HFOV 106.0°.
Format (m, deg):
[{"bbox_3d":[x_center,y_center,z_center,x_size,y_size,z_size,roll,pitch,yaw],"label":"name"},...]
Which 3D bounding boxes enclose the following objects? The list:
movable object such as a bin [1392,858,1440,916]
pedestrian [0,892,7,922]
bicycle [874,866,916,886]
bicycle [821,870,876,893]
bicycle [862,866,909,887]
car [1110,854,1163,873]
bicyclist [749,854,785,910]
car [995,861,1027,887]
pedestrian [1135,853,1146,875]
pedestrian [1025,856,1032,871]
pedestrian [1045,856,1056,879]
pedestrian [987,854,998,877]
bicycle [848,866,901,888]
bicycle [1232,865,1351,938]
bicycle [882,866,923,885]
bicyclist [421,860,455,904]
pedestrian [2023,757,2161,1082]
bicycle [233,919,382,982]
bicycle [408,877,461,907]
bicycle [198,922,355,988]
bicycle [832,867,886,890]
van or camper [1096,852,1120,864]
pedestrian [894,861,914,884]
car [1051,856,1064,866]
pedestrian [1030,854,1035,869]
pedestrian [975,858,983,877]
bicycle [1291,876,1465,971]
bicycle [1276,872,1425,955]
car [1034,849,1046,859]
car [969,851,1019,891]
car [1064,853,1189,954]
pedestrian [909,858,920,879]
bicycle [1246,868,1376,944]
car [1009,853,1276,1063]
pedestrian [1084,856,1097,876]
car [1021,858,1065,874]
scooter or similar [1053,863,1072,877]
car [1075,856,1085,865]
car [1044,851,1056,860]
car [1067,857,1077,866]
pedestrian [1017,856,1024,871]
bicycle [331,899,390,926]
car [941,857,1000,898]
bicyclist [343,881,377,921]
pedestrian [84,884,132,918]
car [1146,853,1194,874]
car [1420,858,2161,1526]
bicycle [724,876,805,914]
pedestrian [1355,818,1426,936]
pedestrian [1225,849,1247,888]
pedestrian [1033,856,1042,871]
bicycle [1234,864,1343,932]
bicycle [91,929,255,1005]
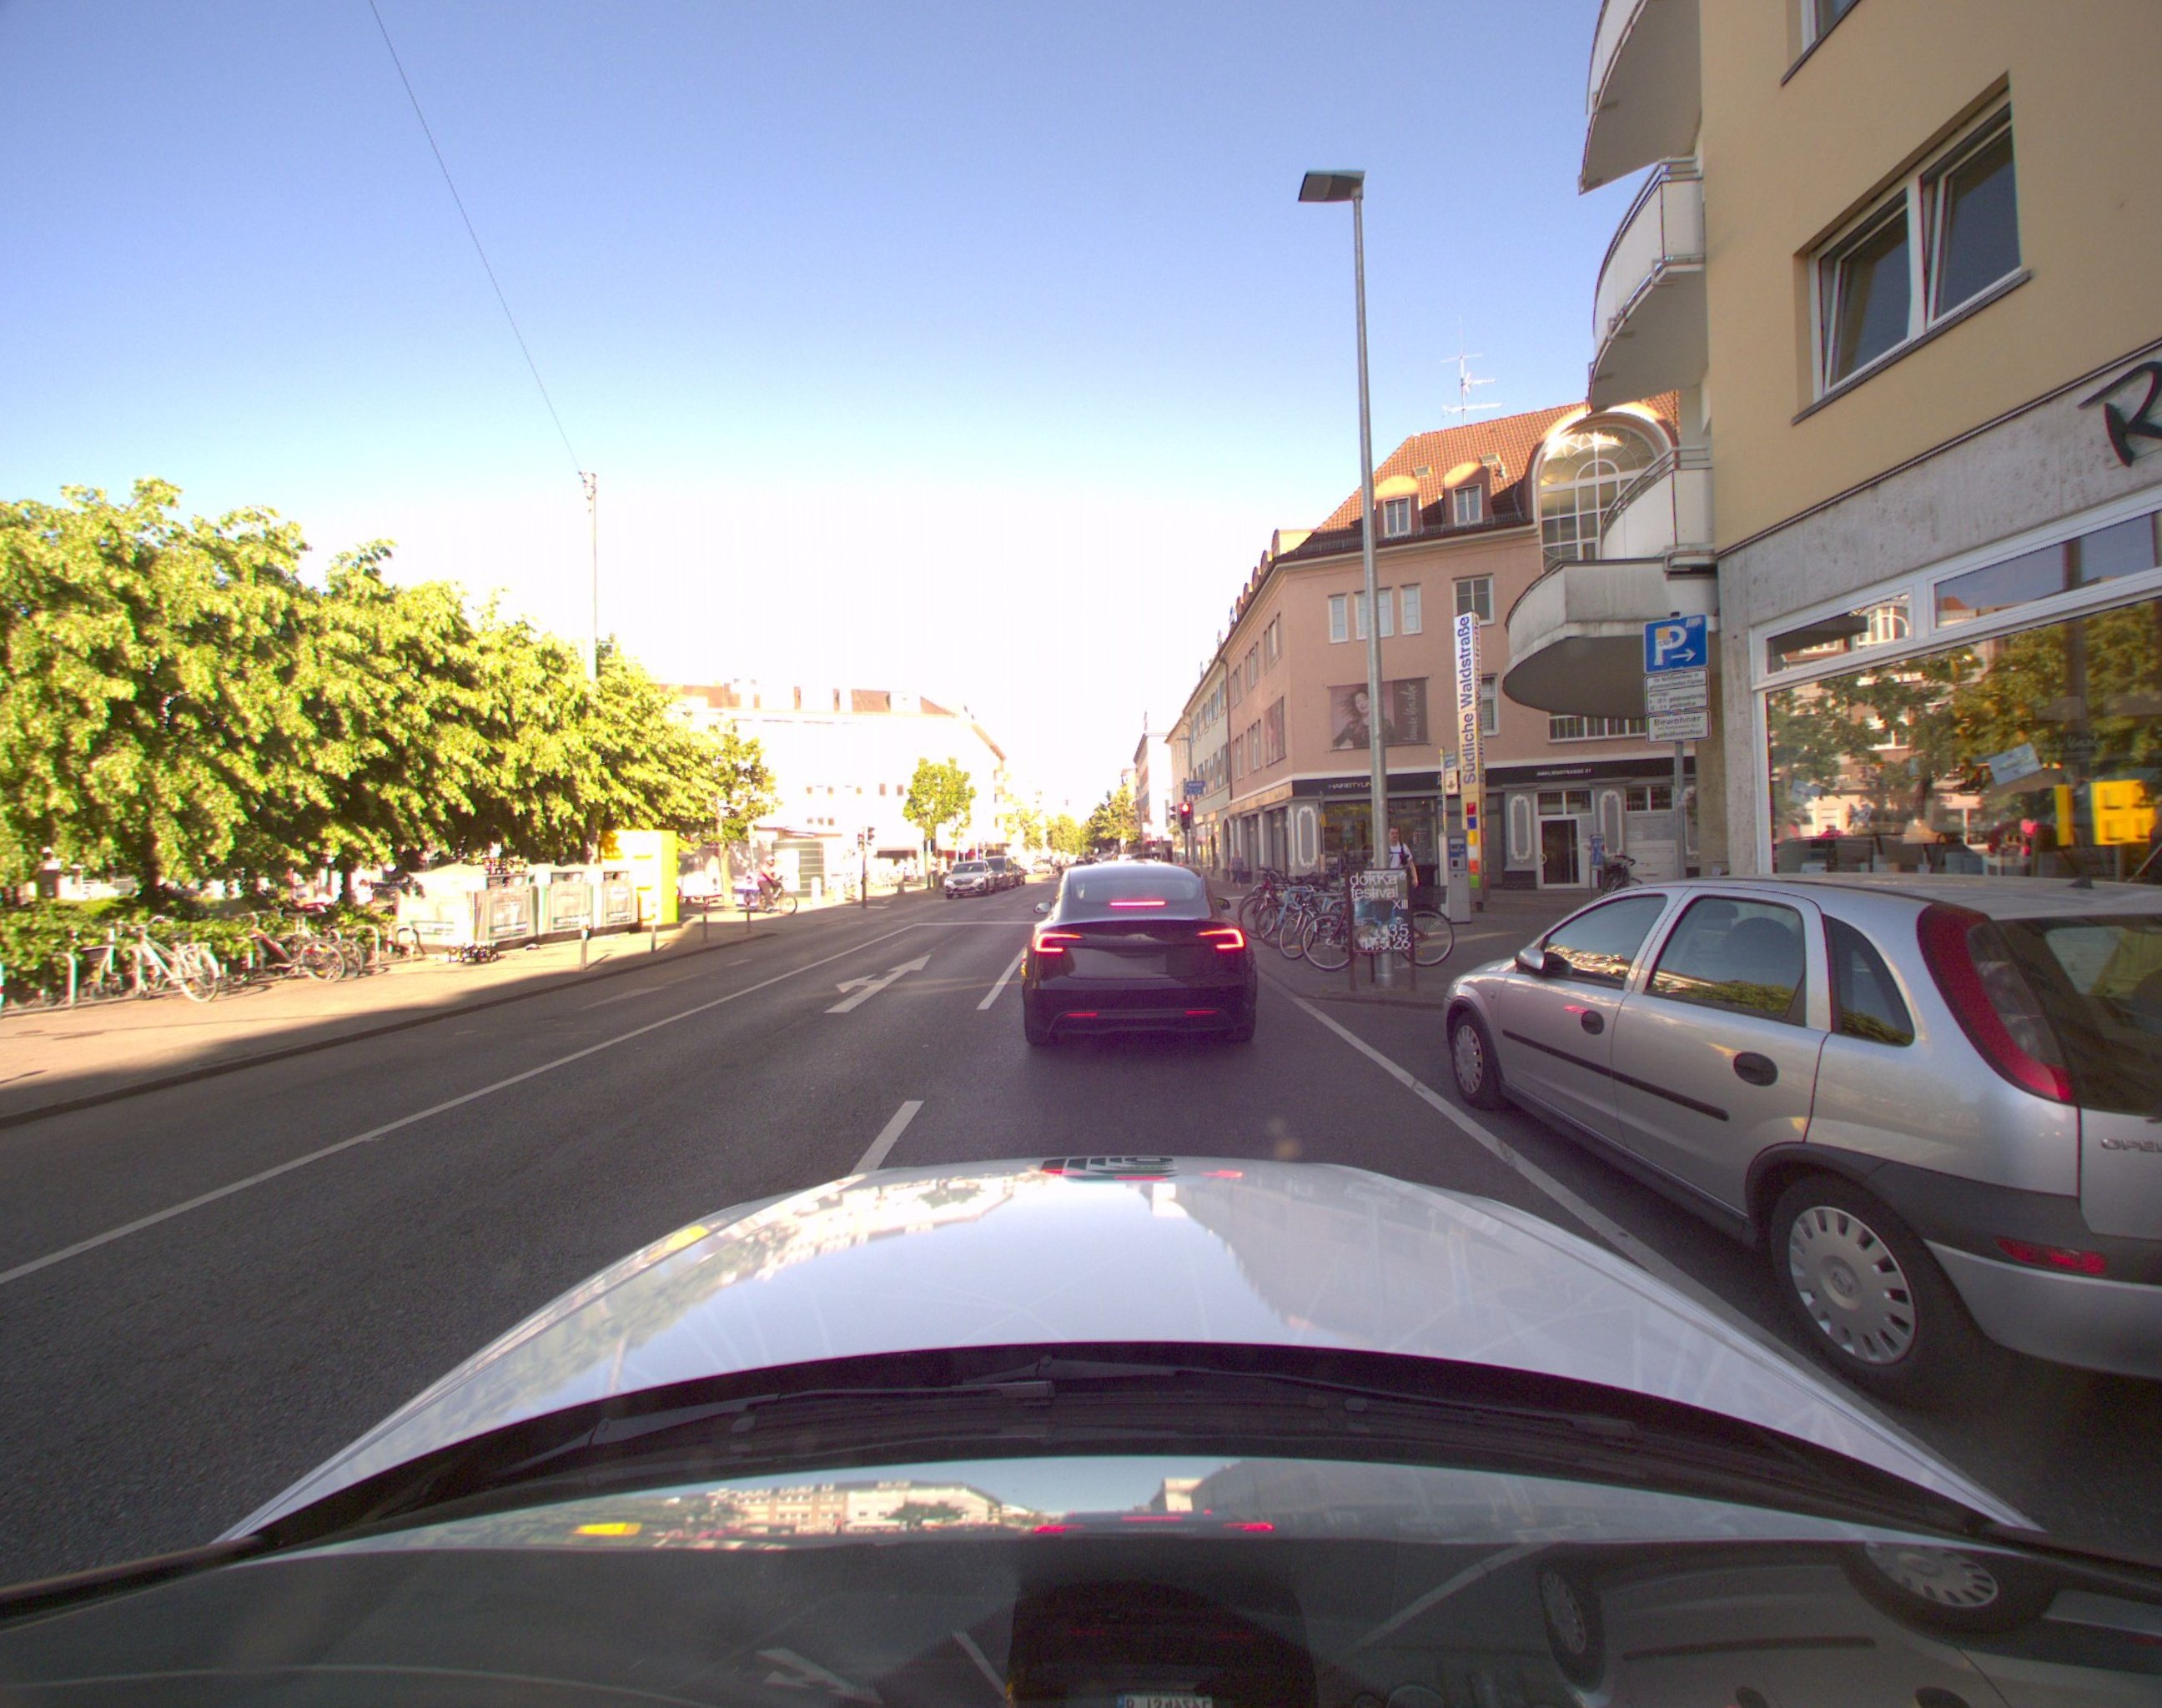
[{"bbox_3d":[6.746,0.661,16.422,0.633,1.103,0.728,-4,-1,5],"label":"movable object such as a bin"},{"bbox_3d":[-55.144,2.688,41.321,0.827,1.520,0.782,-1,-1,38],"label":"pedestrian"},{"bbox_3d":[-11.998,1.403,52.570,2.535,1.251,0.942,0,-1,-1],"label":"bicycle"},{"bbox_3d":[-12.324,1.441,43.237,2.652,1.195,0.942,0,-1,-1],"label":"bicycle"},{"bbox_3d":[-12.053,1.390,50.294,2.655,1.259,0.942,0,-1,-1],"label":"bicycle"},{"bbox_3d":[5.853,1.010,85.845,5.213,1.866,1.871,-1,0,-20],"label":"car"},{"bbox_3d":[-10.170,0.904,26.397,0.859,1.755,0.683,-1,-1,9],"label":"bicyclist"},{"bbox_3d":[-4.256,1.208,50.039,1.455,1.430,3.607,-5,-1,2],"label":"car"},{"bbox_3d":[4.986,0.823,68.539,0.701,1.877,0.813,-1,-1,22],"label":"pedestrian"},{"bbox_3d":[-6.324,1.135,97.503,0.734,1.868,0.787,0,-1,-15],"label":"pedestrian"},{"bbox_3d":[-2.415,1.058,63.989,0.660,1.760,0.649,0,-1,-22],"label":"pedestrian"},{"bbox_3d":[-7.001,0.925,64.433,0.844,1.760,0.704,0,-1,-12],"label":"pedestrian"},{"bbox_3d":[-12.154,1.366,47.976,2.867,1.270,0.942,0,-1,-1],"label":"bicycle"},{"bbox_3d":[3.497,0.776,13.635,1.806,1.152,0.653,-1,0,3],"label":"bicycle"},{"bbox_3d":[-12.052,1.423,54.997,2.535,1.251,0.942,0,-1,-1],"label":"bicycle"},{"bbox_3d":[-25.261,1.106,32.002,0.801,1.709,0.706,-1,-1,16],"label":"bicyclist"},{"bbox_3d":[6.253,0.332,4.660,0.778,1.754,0.727,-4,-1,19],"label":"pedestrian"},{"bbox_3d":[-11.461,1.426,12.095,1.663,0.859,0.469,0,-1,-5],"label":"bicycle"},{"bbox_3d":[-25.453,1.491,32.065,1.936,1.162,0.620,-1,-1,15],"label":"bicycle"},{"bbox_3d":[-11.426,1.424,11.596,1.667,0.859,0.469,0,-1,-5],"label":"bicycle"},{"bbox_3d":[-12.393,1.373,45.581,2.772,1.274,0.933,0,-1,-2],"label":"bicycle"},{"bbox_3d":[5.637,0.860,167.653,4.832,2.438,1.851,-1,0,1],"label":"van or camper"},{"bbox_3d":[-12.733,1.334,58.670,1.099,1.611,1.255,0,-1,-28],"label":"pedestrian"},{"bbox_3d":[-4.855,1.330,166.801,2.405,1.970,4.679,-1,0,2],"label":"car"},{"bbox_3d":[-6.214,0.982,104.217,0.693,1.868,0.658,0,-1,-3],"label":"pedestrian"},{"bbox_3d":[-8.258,1.052,65.894,0.624,1.524,0.577,0,-1,-11],"label":"pedestrian"},{"bbox_3d":[3.637,0.846,10.075,1.875,1.044,0.653,-2,0,3],"label":"bicycle"},{"bbox_3d":[3.657,0.799,11.148,1.806,1.060,0.653,-1,0,3],"label":"bicycle"},{"bbox_3d":[-9.016,-0.005,180.131,2.266,2.014,4.720,0,-1,3],"label":"car"},{"bbox_3d":[-4.495,0.838,42.913,1.938,1.947,4.822,-1,0,2],"label":"car"},{"bbox_3d":[0.743,0.750,14.299,1.843,1.482,4.453,0,0,2],"label":"car"},{"bbox_3d":[-15.925,1.403,78.003,0.926,2.014,0.853,0,-1,-22],"label":"pedestrian"},{"bbox_3d":[3.519,0.792,12.559,1.806,1.102,0.653,-1,0,3],"label":"bicycle"},{"bbox_3d":[0.496,0.740,7.875,1.843,1.447,4.453,0,0,2],"label":"car"},{"bbox_3d":[0.743,1.002,66.703,0.812,1.609,0.702,0,-1,-35],"label":"pedestrian"},{"bbox_3d":[-3.795,1.166,81.188,4.133,1.530,1.541,-1,0,-20],"label":"car"},{"bbox_3d":[-1.481,1.272,64.394,1.339,1.134,0.804,0,-1,-23],"label":"scooter or similar"},{"bbox_3d":[-0.235,1.327,168.486,1.886,1.813,3.925,0,-1,0],"label":"car"},{"bbox_3d":[-7.161,0.298,188.726,2.266,2.014,4.720,0,-1,3],"label":"car"},{"bbox_3d":[-1.994,1.786,187.422,2.124,1.970,4.135,-1,0,2],"label":"car"},{"bbox_3d":[-7.258,1.140,97.286,0.734,1.868,0.787,0,-1,-15],"label":"pedestrian"},{"bbox_3d":[-25.584,2.082,28.924,1.840,0.823,0.583,-4,-1,14],"label":"bicycle"},{"bbox_3d":[-4.883,1.018,36.591,1.818,1.565,4.302,-5,-1,2],"label":"car"},{"bbox_3d":[-25.608,1.673,28.937,0.701,1.381,0.577,-3,-2,14],"label":"bicyclist"},{"bbox_3d":[-53.666,2.576,44.937,1.098,1.842,1.297,0,-1,-9],"label":"pedestrian"},{"bbox_3d":[8.148,0.877,74.642,4.006,1.867,1.686,-1,0,-20],"label":"car"},{"bbox_3d":[2.961,0.739,3.539,1.578,1.426,3.581,0,-1,2],"label":"car"},{"bbox_3d":[-10.246,1.323,26.403,2.376,1.151,0.714,-2,-1,8],"label":"bicycle"},{"bbox_3d":[4.955,0.366,13.098,0.805,1.823,0.984,0,-1,5],"label":"pedestrian"},{"bbox_3d":[6.314,0.599,33.132,0.786,1.549,0.724,0,-1,2],"label":"pedestrian"},{"bbox_3d":[-5.111,1.117,96.475,0.726,1.868,0.796,-1,-1,30],"label":"pedestrian"},{"bbox_3d":[3.738,0.784,14.764,1.806,1.152,0.653,-1,0,3],"label":"bicycle"},{"bbox_3d":[-11.461,1.418,10.298,1.560,0.886,0.470,0,-1,1],"label":"bicycle"}]
